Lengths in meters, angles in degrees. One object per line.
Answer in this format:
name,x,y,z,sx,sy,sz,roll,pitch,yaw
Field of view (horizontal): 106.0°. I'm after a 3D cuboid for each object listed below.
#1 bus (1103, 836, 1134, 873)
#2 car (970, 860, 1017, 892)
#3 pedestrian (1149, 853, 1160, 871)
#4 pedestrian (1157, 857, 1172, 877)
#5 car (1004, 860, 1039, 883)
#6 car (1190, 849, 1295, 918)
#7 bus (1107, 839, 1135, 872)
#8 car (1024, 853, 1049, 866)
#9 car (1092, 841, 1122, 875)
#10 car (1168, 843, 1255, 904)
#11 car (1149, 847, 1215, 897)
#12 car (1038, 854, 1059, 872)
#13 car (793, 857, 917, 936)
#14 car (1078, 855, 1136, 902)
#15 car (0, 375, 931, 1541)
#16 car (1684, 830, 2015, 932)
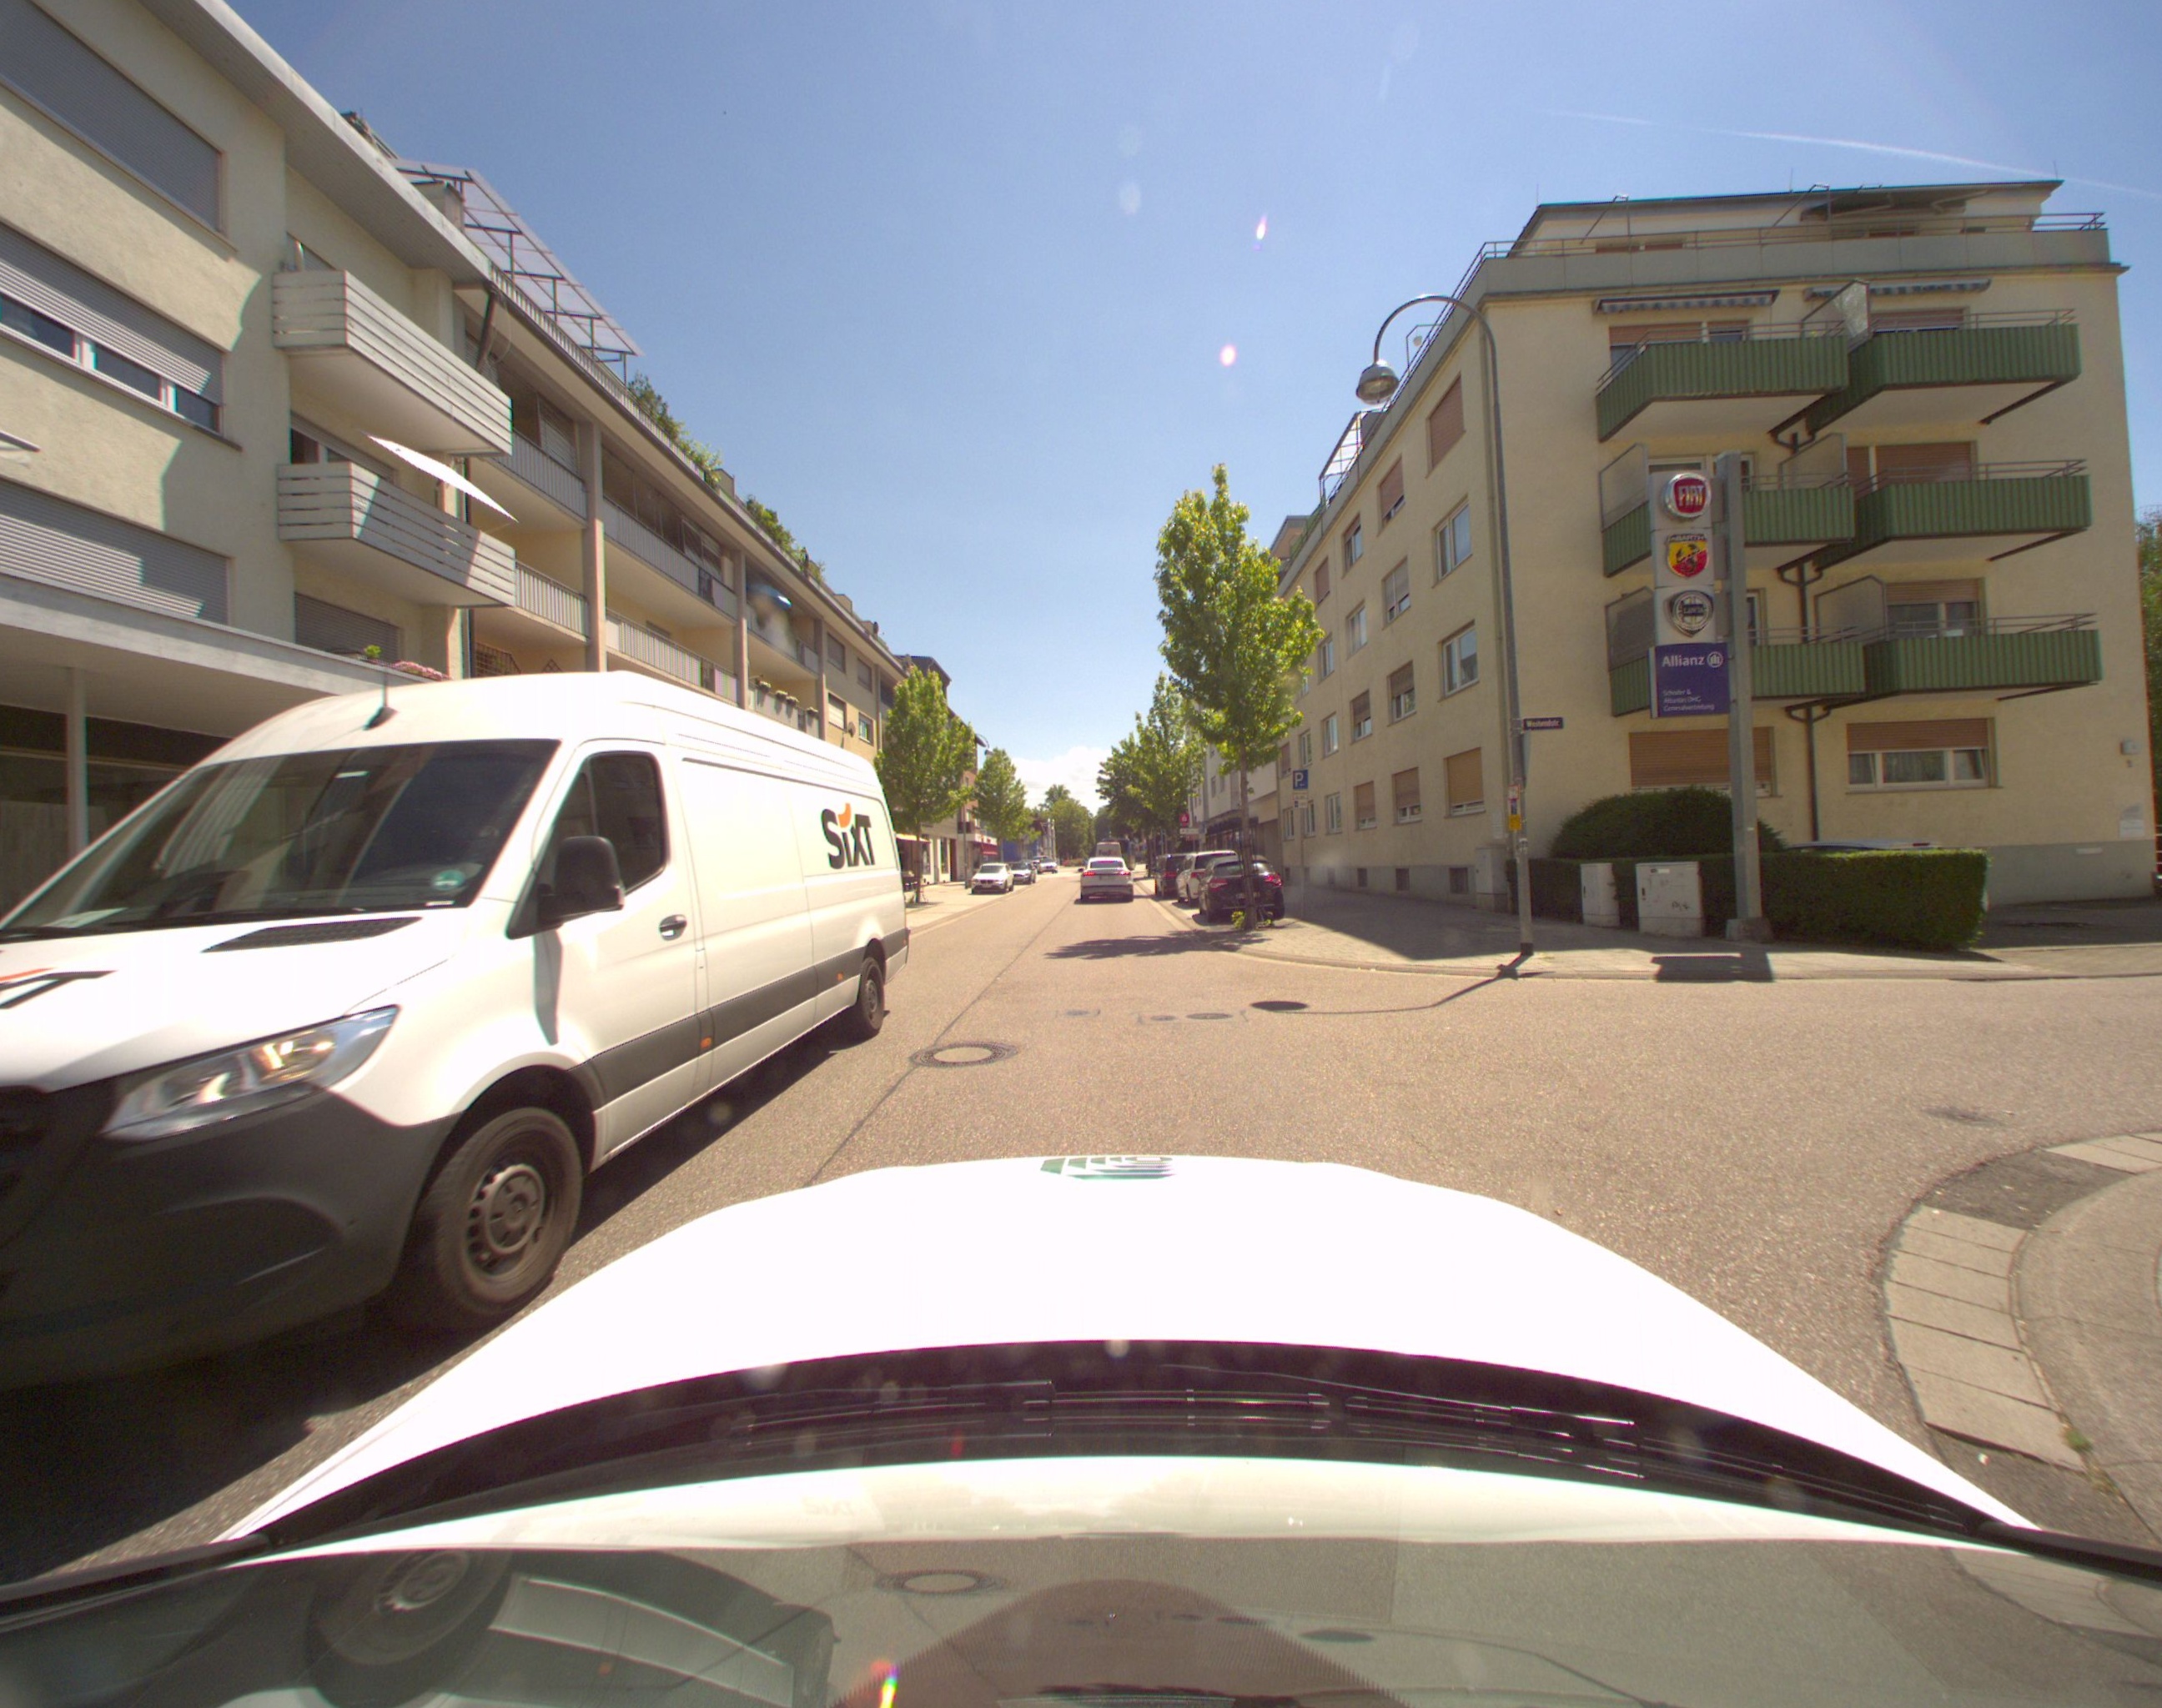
bus,3.581,0.078,76.123,2.649,3.221,7.309,-1,-1,4
car,-4.536,1.108,42.895,1.745,1.618,4.404,0,0,3
pedestrian,6.192,0.655,68.684,0.716,1.502,0.581,-3,-1,-7
pedestrian,5.468,0.831,53.339,0.903,1.236,0.648,-3,0,1
car,-3.880,1.102,53.755,1.745,1.453,4.405,0,0,4
car,3.840,0.651,20.116,1.888,1.438,4.548,-3,0,3
bus,4.146,0.155,83.462,2.649,3.210,7.460,-1,-1,4
car,-5.879,0.735,107.845,1.850,1.757,4.018,-1,-1,18
car,1.965,0.307,61.082,2.148,2.442,5.285,-1,-1,2
car,4.076,0.591,26.257,1.890,1.674,4.689,-4,0,-1
car,3.818,0.651,31.609,1.850,1.674,4.535,-4,0,-1
car,-3.344,0.943,84.955,1.849,1.692,4.151,-4,-1,1
car,-5.275,0.927,19.586,1.746,1.702,4.102,0,0,1
car,0.932,0.875,30.538,1.987,1.633,4.000,-1,0,0
car,-2.846,0.296,5.425,2.029,2.630,7.109,-4,0,1
car,12.666,0.409,13.822,1.833,1.417,3.850,-2,0,-4
